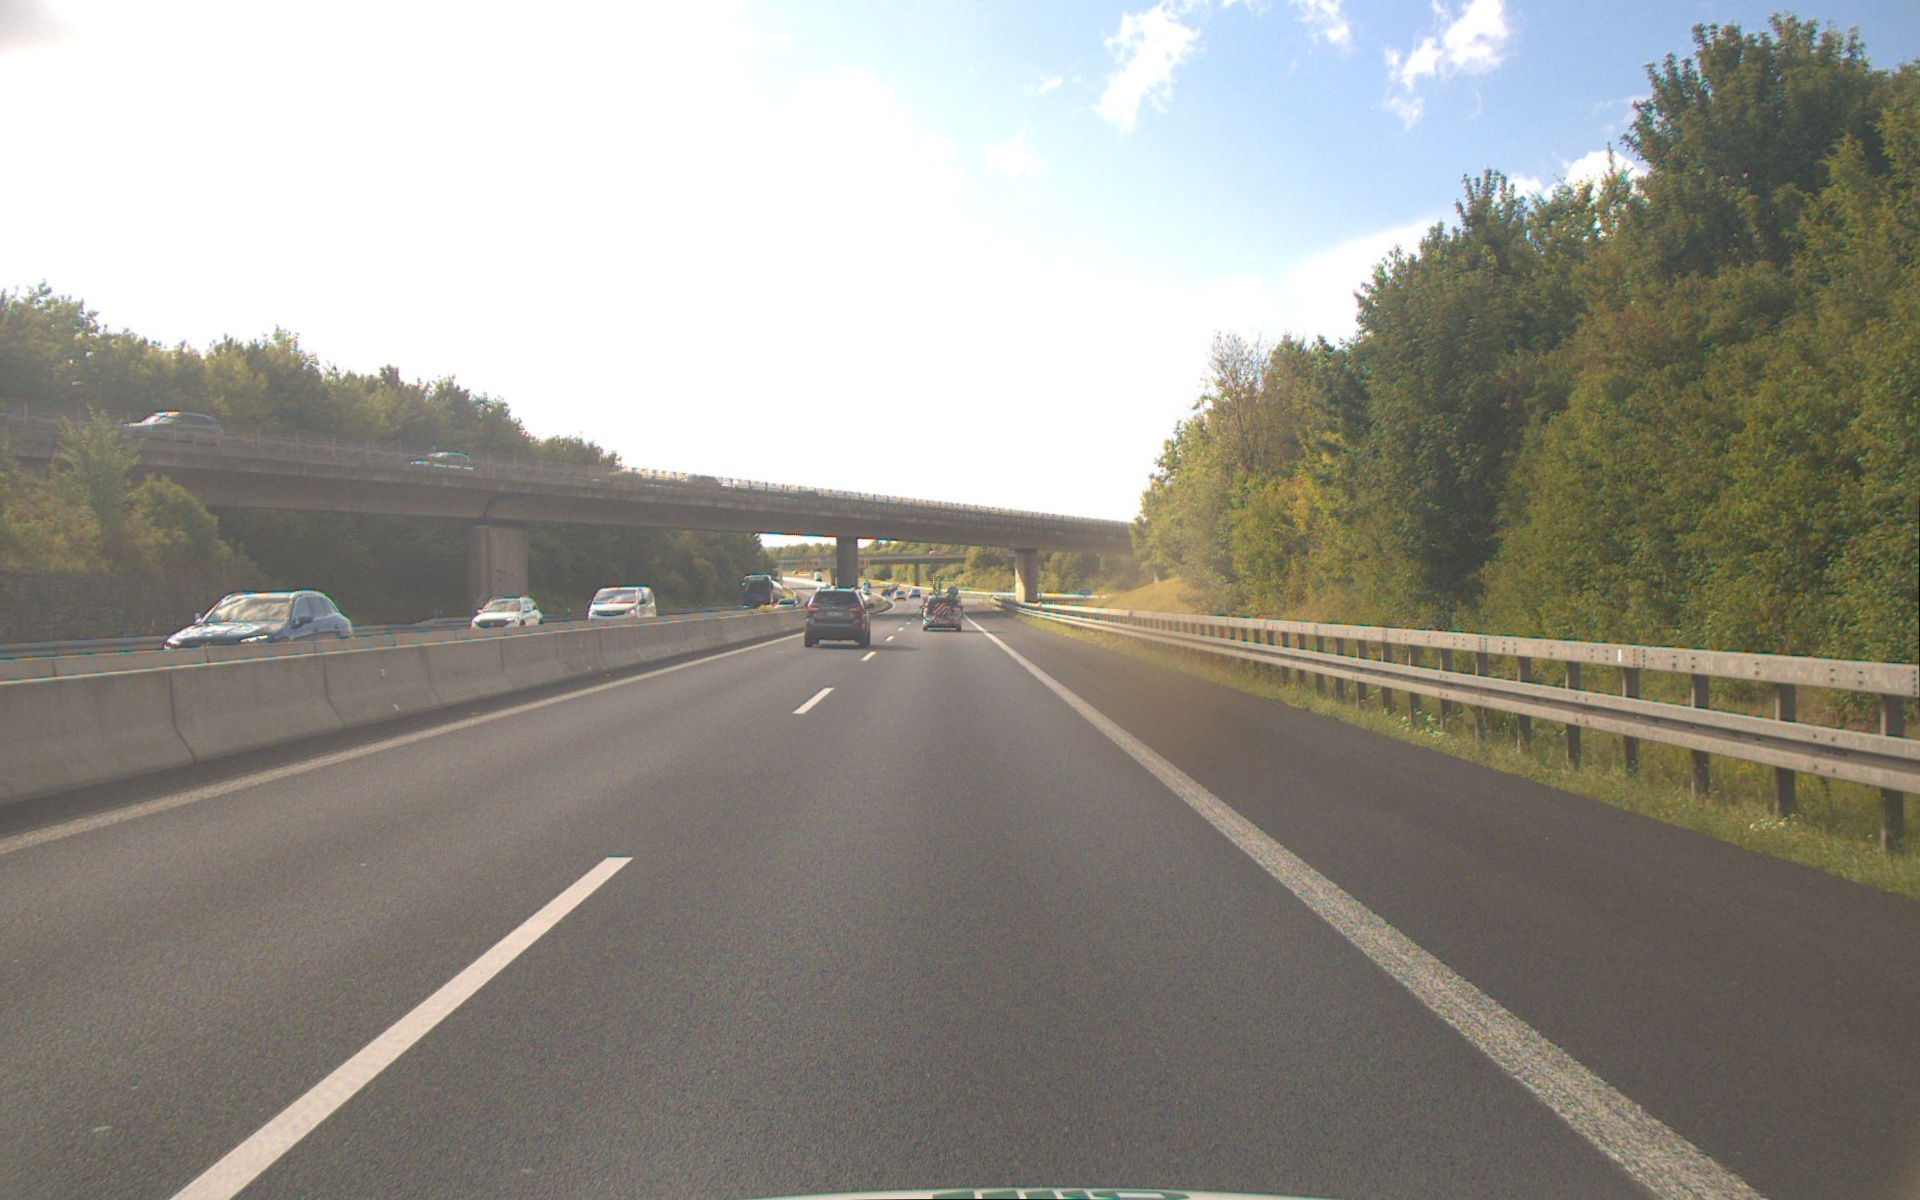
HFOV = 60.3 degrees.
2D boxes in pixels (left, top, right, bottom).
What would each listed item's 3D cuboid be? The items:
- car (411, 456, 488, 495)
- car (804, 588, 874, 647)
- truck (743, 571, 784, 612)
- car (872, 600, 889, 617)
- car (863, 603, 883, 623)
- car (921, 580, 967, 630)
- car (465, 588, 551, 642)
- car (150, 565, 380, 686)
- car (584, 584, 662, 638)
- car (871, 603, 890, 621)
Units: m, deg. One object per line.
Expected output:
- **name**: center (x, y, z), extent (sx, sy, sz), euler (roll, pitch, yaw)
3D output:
- **car**: center (-30.161, -7.334, 97.857), extent (1.951, 1.929, 4.825), euler (-1, 0, 17)
- **car**: center (-3.573, 0.504, 49.353), extent (1.714, 1.659, 3.609), euler (-1, 0, 1)
- **truck**: center (-17.760, -0.733, 150.315), extent (2.621, 3.506, 9.827), euler (-1, 0, -1)
- **car**: center (-10.111, 1.104, 210.055), extent (1.953, 2.049, 3.999), euler (-1, 0, -1)
- **car**: center (-9.313, 1.364, 177.808), extent (1.953, 2.049, 3.999), euler (-1, 0, -1)
- **car**: center (-0.724, 0.219, 74.356), extent (1.953, 2.117, 4.000), euler (-1, 0, 0)
- **car**: center (-17.031, 0.550, 62.500), extent (1.953, 1.929, 4.821), euler (-1, 0, -1)
- **car**: center (-12.218, 0.415, 29.497), extent (1.953, 1.929, 5.139), euler (-1, 0, -1)
- **car**: center (-12.788, 0.399, 63.065), extent (1.953, 1.929, 5.188), euler (-1, 0, -1)
- **car**: center (-9.080, 1.354, 189.035), extent (1.953, 2.049, 3.999), euler (-1, 0, -1)
